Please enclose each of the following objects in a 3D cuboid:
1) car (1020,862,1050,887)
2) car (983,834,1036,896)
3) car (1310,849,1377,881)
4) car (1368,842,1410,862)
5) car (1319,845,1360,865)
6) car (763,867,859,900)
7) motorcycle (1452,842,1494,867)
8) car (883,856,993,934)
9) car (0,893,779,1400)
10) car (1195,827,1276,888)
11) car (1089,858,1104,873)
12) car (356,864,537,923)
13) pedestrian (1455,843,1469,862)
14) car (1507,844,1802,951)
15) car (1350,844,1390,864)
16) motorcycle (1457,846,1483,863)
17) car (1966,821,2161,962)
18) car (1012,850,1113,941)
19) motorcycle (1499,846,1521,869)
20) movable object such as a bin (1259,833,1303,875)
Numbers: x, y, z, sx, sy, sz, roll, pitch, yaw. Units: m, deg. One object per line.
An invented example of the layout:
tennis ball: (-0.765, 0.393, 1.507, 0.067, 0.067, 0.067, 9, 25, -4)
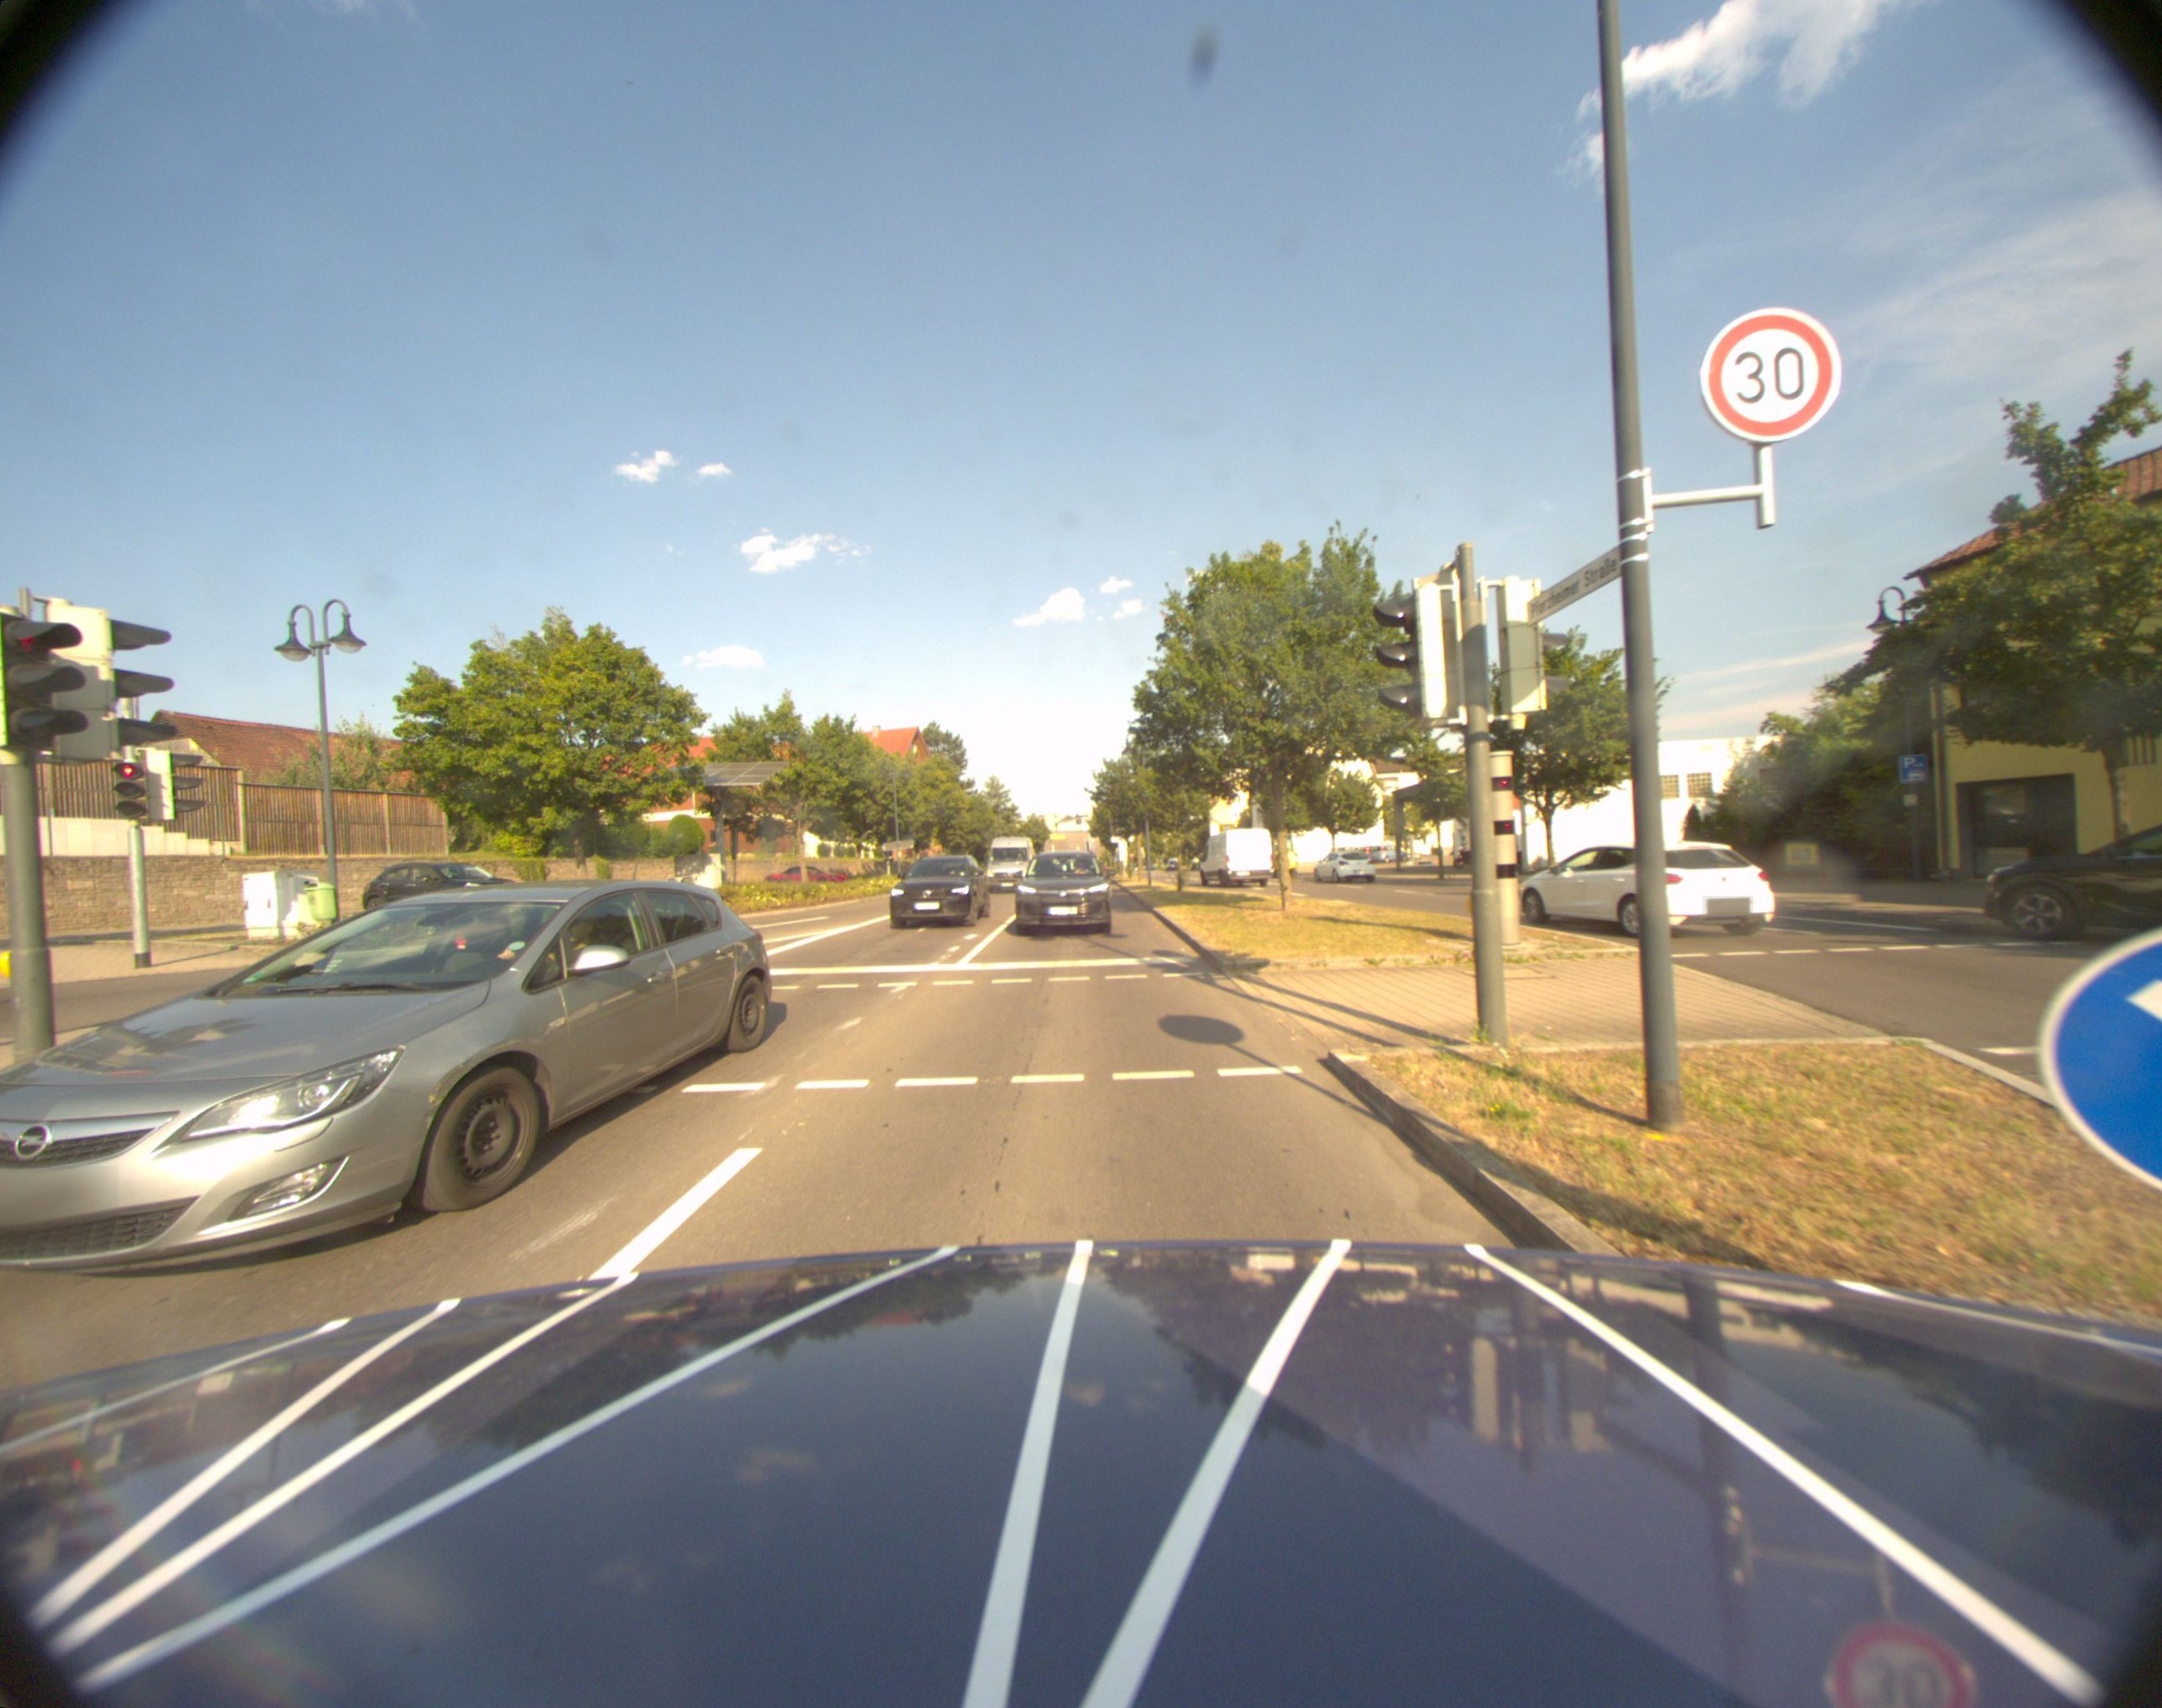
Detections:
car: (-3.197, 1.397, 53.652, 1.768, 1.582, 4.056, -3, 0, 0)
car: (-3.330, 0.457, 36.394, 2.040, 2.642, 6.648, -1, 0, -2)
car: (12.366, 0.495, 36.049, 1.695, 1.405, 4.213, -2, 0, 0)
car: (24.779, -0.144, 61.101, 3.438, 1.534, 1.617, -2, 0, -38)
car: (22.338, 0.087, 65.650, 3.417, 1.616, 1.857, -1, 0, -41)
car: (-13.237, 1.456, 37.349, 3.994, 1.422, 1.749, -2, 0, 8)
motorcycle: (21.979, 0.056, 42.651, 0.489, 1.314, 2.114, -2, -1, -31)
car: (-3.268, 0.885, 18.178, 1.792, 1.596, 4.056, -2, 0, 0)
car: (-3.508, 1.044, 4.500, 1.651, 1.414, 4.144, -1, 0, 2)
car: (6.890, 0.160, 34.575, 2.091, 2.461, 5.476, -2, 0, -5)
car: (2.139, 1.531, 103.208, 1.816, 1.861, 4.001, -2, 0, 4)
car: (-17.597, 1.078, 21.115, 4.072, 1.448, 1.680, -2, 0, 13)
pedestrian: (27.217, -0.106, 54.286, 0.596, 1.332, 0.584, -2, 0, -7)
car: (8.962, 0.596, 12.390, 1.762, 1.403, 4.000, -2, 0, 0)
car: (24.444, 0.013, 64.281, 3.438, 1.555, 1.583, -2, 0, -38)
motorcycle: (27.770, 0.050, 54.252, 0.488, 1.139, 2.118, -3, -1, -6)
car: (13.101, 0.395, 8.254, 1.859, 1.586, 4.461, -2, 0, 3)
car: (-0.322, 0.765, 15.869, 1.768, 1.582, 4.056, -3, 0, 0)
motorcycle: (21.667, 0.167, 38.340, 0.549, 1.092, 2.052, -3, -1, 40)
movable object such as a bin: (12.371, 0.000, 47.364, 1.556, 2.447, 4.978, -1, 0, 2)
